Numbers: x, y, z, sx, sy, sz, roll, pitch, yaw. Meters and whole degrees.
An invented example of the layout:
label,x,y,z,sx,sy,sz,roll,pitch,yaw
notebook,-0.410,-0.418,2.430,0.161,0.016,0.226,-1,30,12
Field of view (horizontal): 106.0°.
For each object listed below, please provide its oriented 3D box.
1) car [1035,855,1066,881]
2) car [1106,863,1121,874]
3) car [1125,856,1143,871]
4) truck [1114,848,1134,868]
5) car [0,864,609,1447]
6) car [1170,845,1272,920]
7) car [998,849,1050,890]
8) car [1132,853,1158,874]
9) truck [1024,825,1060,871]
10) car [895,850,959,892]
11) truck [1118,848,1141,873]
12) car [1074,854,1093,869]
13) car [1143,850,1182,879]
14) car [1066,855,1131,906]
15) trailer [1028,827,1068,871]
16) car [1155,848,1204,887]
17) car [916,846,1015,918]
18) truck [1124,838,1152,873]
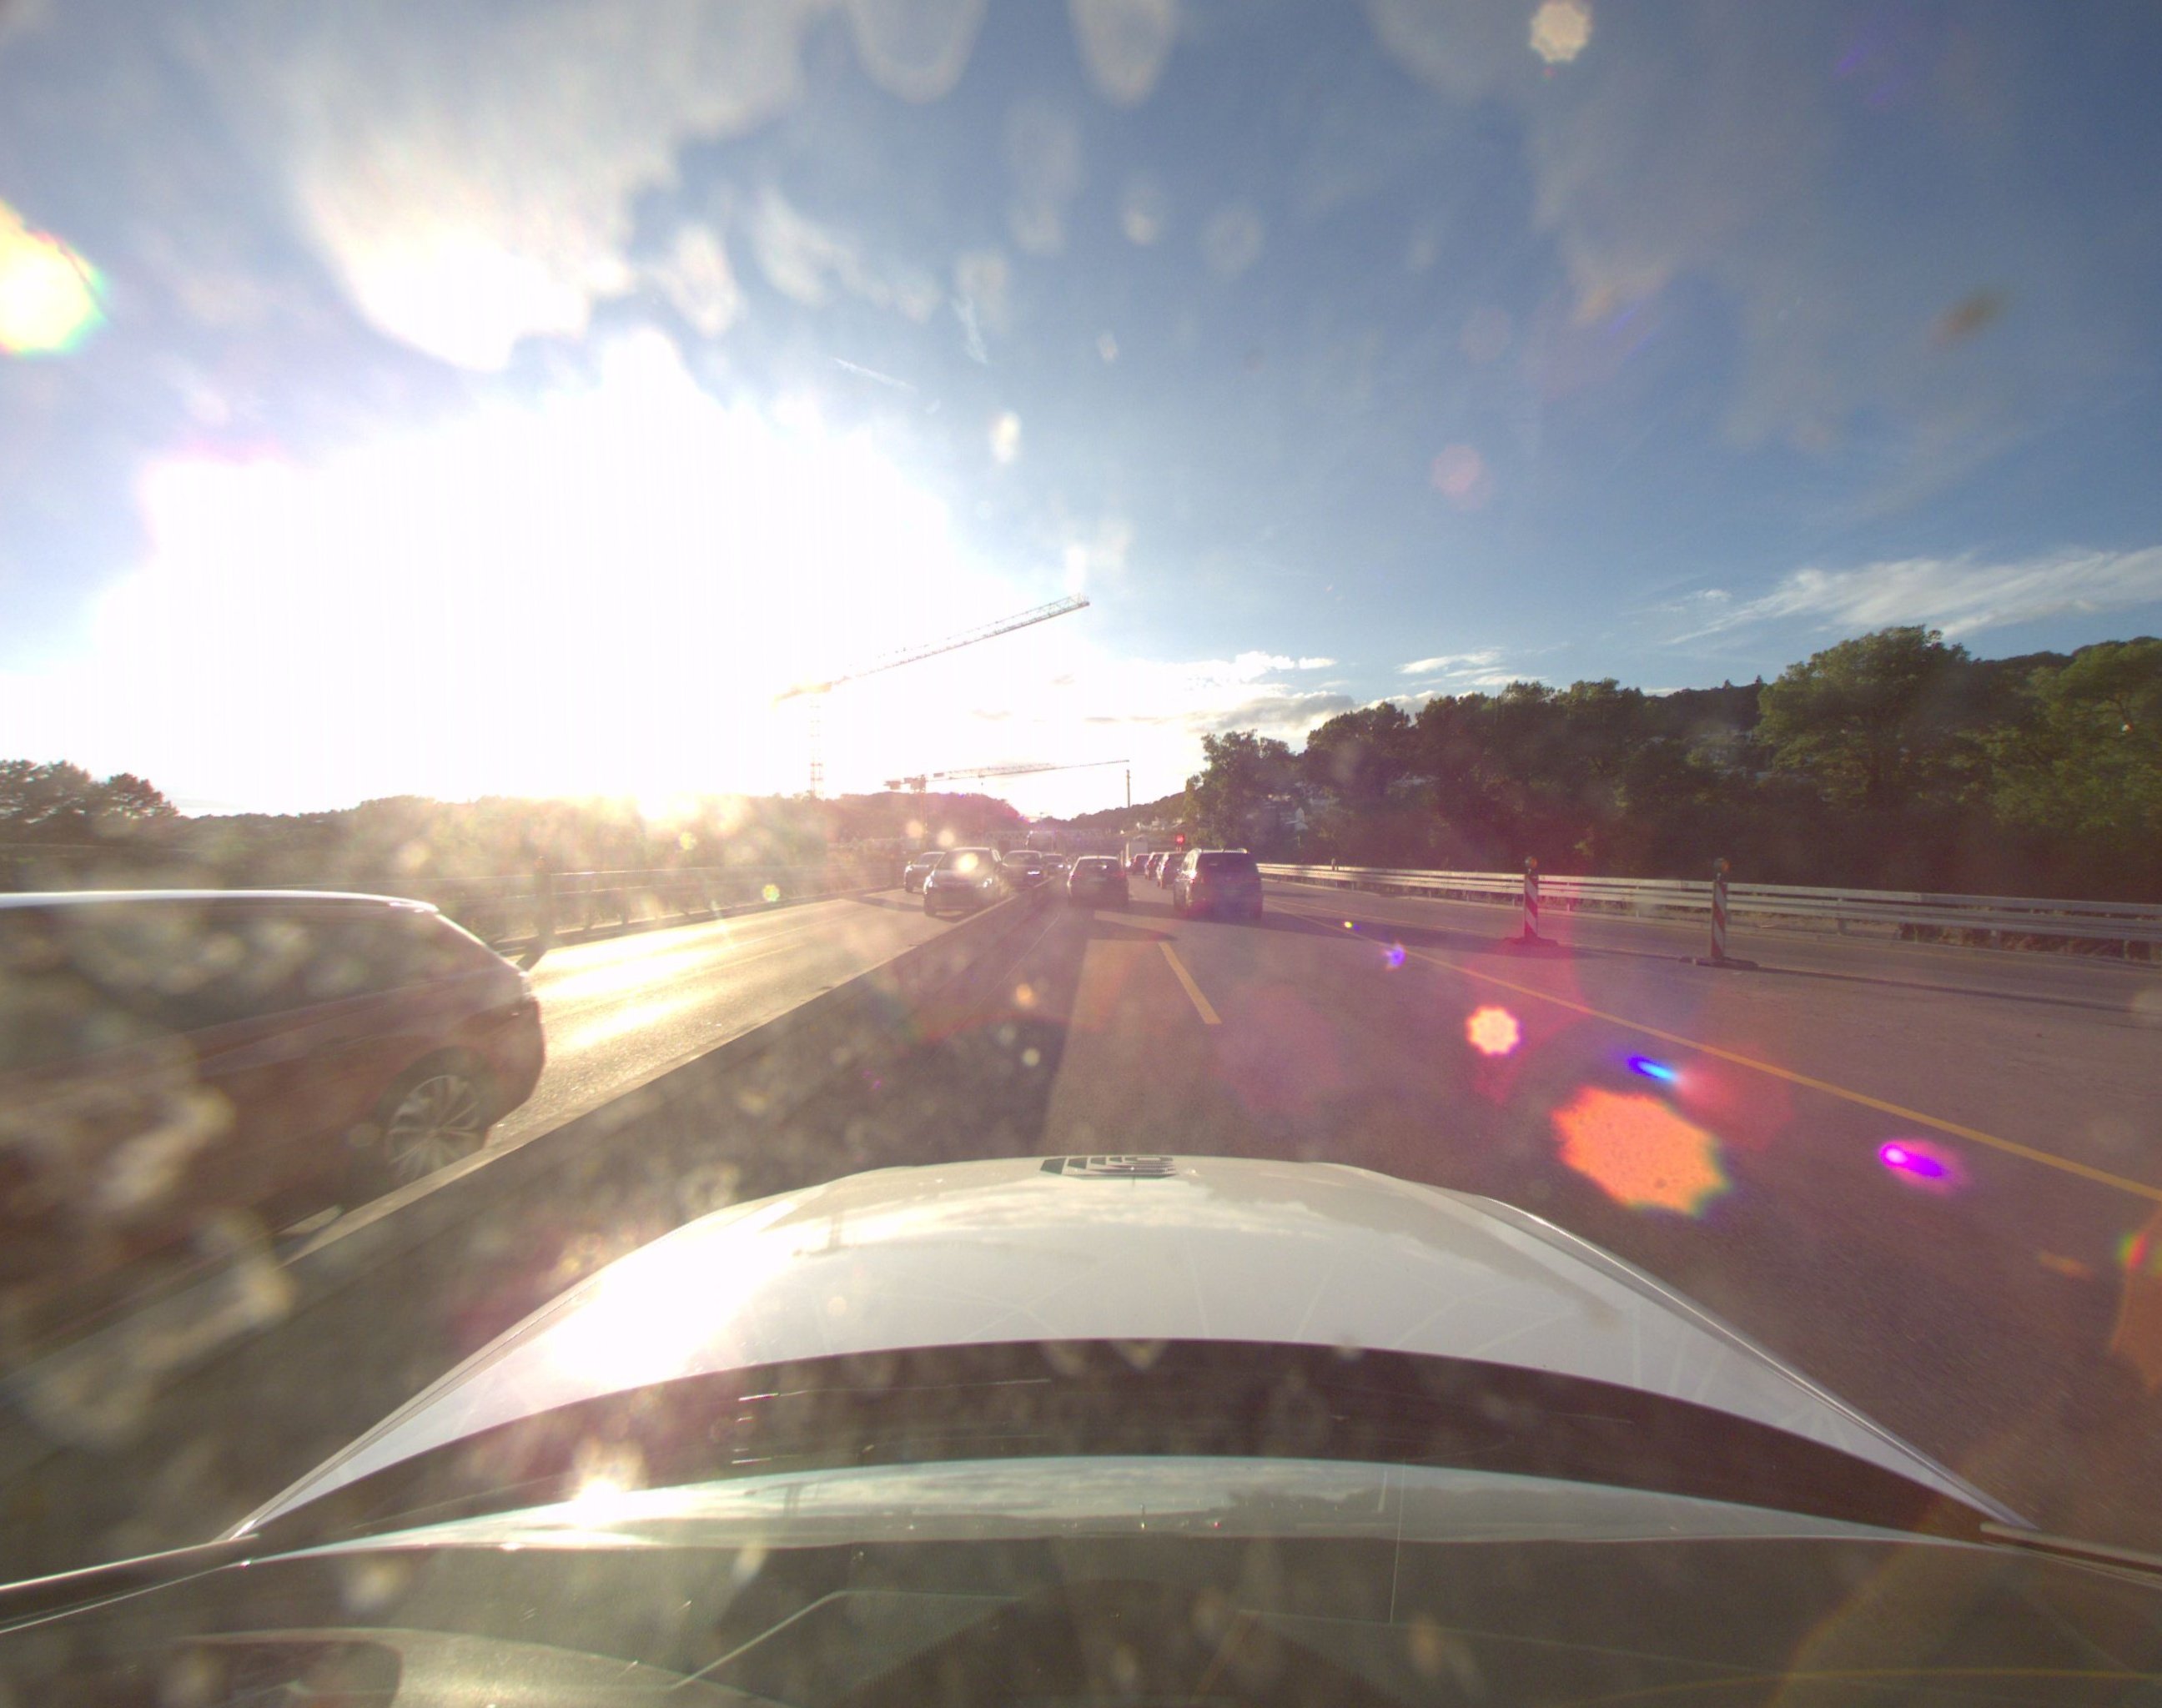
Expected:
label,x,y,z,sx,sy,sz,roll,pitch,yaw
car,-1.840,0.853,50.592,1.761,1.535,3.999,0,-1,0
car,4.289,1.970,108.284,1.856,1.420,4.001,1,-1,2
car,5.972,1.078,91.325,1.764,1.553,3.999,1,-1,0
truck,10.135,1.013,193.537,3.878,4.498,13.844,0,0,0
car,-3.655,0.784,2.299,1.809,1.463,4.707,0,0,1
car,3.366,0.619,20.383,1.806,1.615,4.527,2,0,1
car,-2.281,0.612,33.875,1.736,1.584,4.706,0,0,1
car,5.121,0.806,65.323,1.808,1.632,4.412,0,-1,1
truck,-3.587,-0.495,76.077,2.803,4.048,5.676,-1,-1,3
car,-6.077,0.637,32.595,1.685,1.568,4.294,0,0,1
truck,8.809,1.178,150.851,3.876,4.498,15.273,0,0,2
car,0.328,0.856,91.207,1.986,1.619,4.608,-1,-1,2
car,4.681,0.638,47.422,1.868,1.599,4.967,-1,-1,2
car,0.488,0.738,24.306,1.764,1.390,4.000,0,0,0
trailer,-3.232,-0.414,83.098,2.803,4.051,14.030,-1,-1,3
car,4.204,0.573,35.296,1.767,1.586,4.137,0,-1,2
car,-2.818,0.641,20.866,1.821,1.640,4.530,0,0,1
truck,7.705,0.093,112.038,3.372,4.498,15.277,0,1,2
